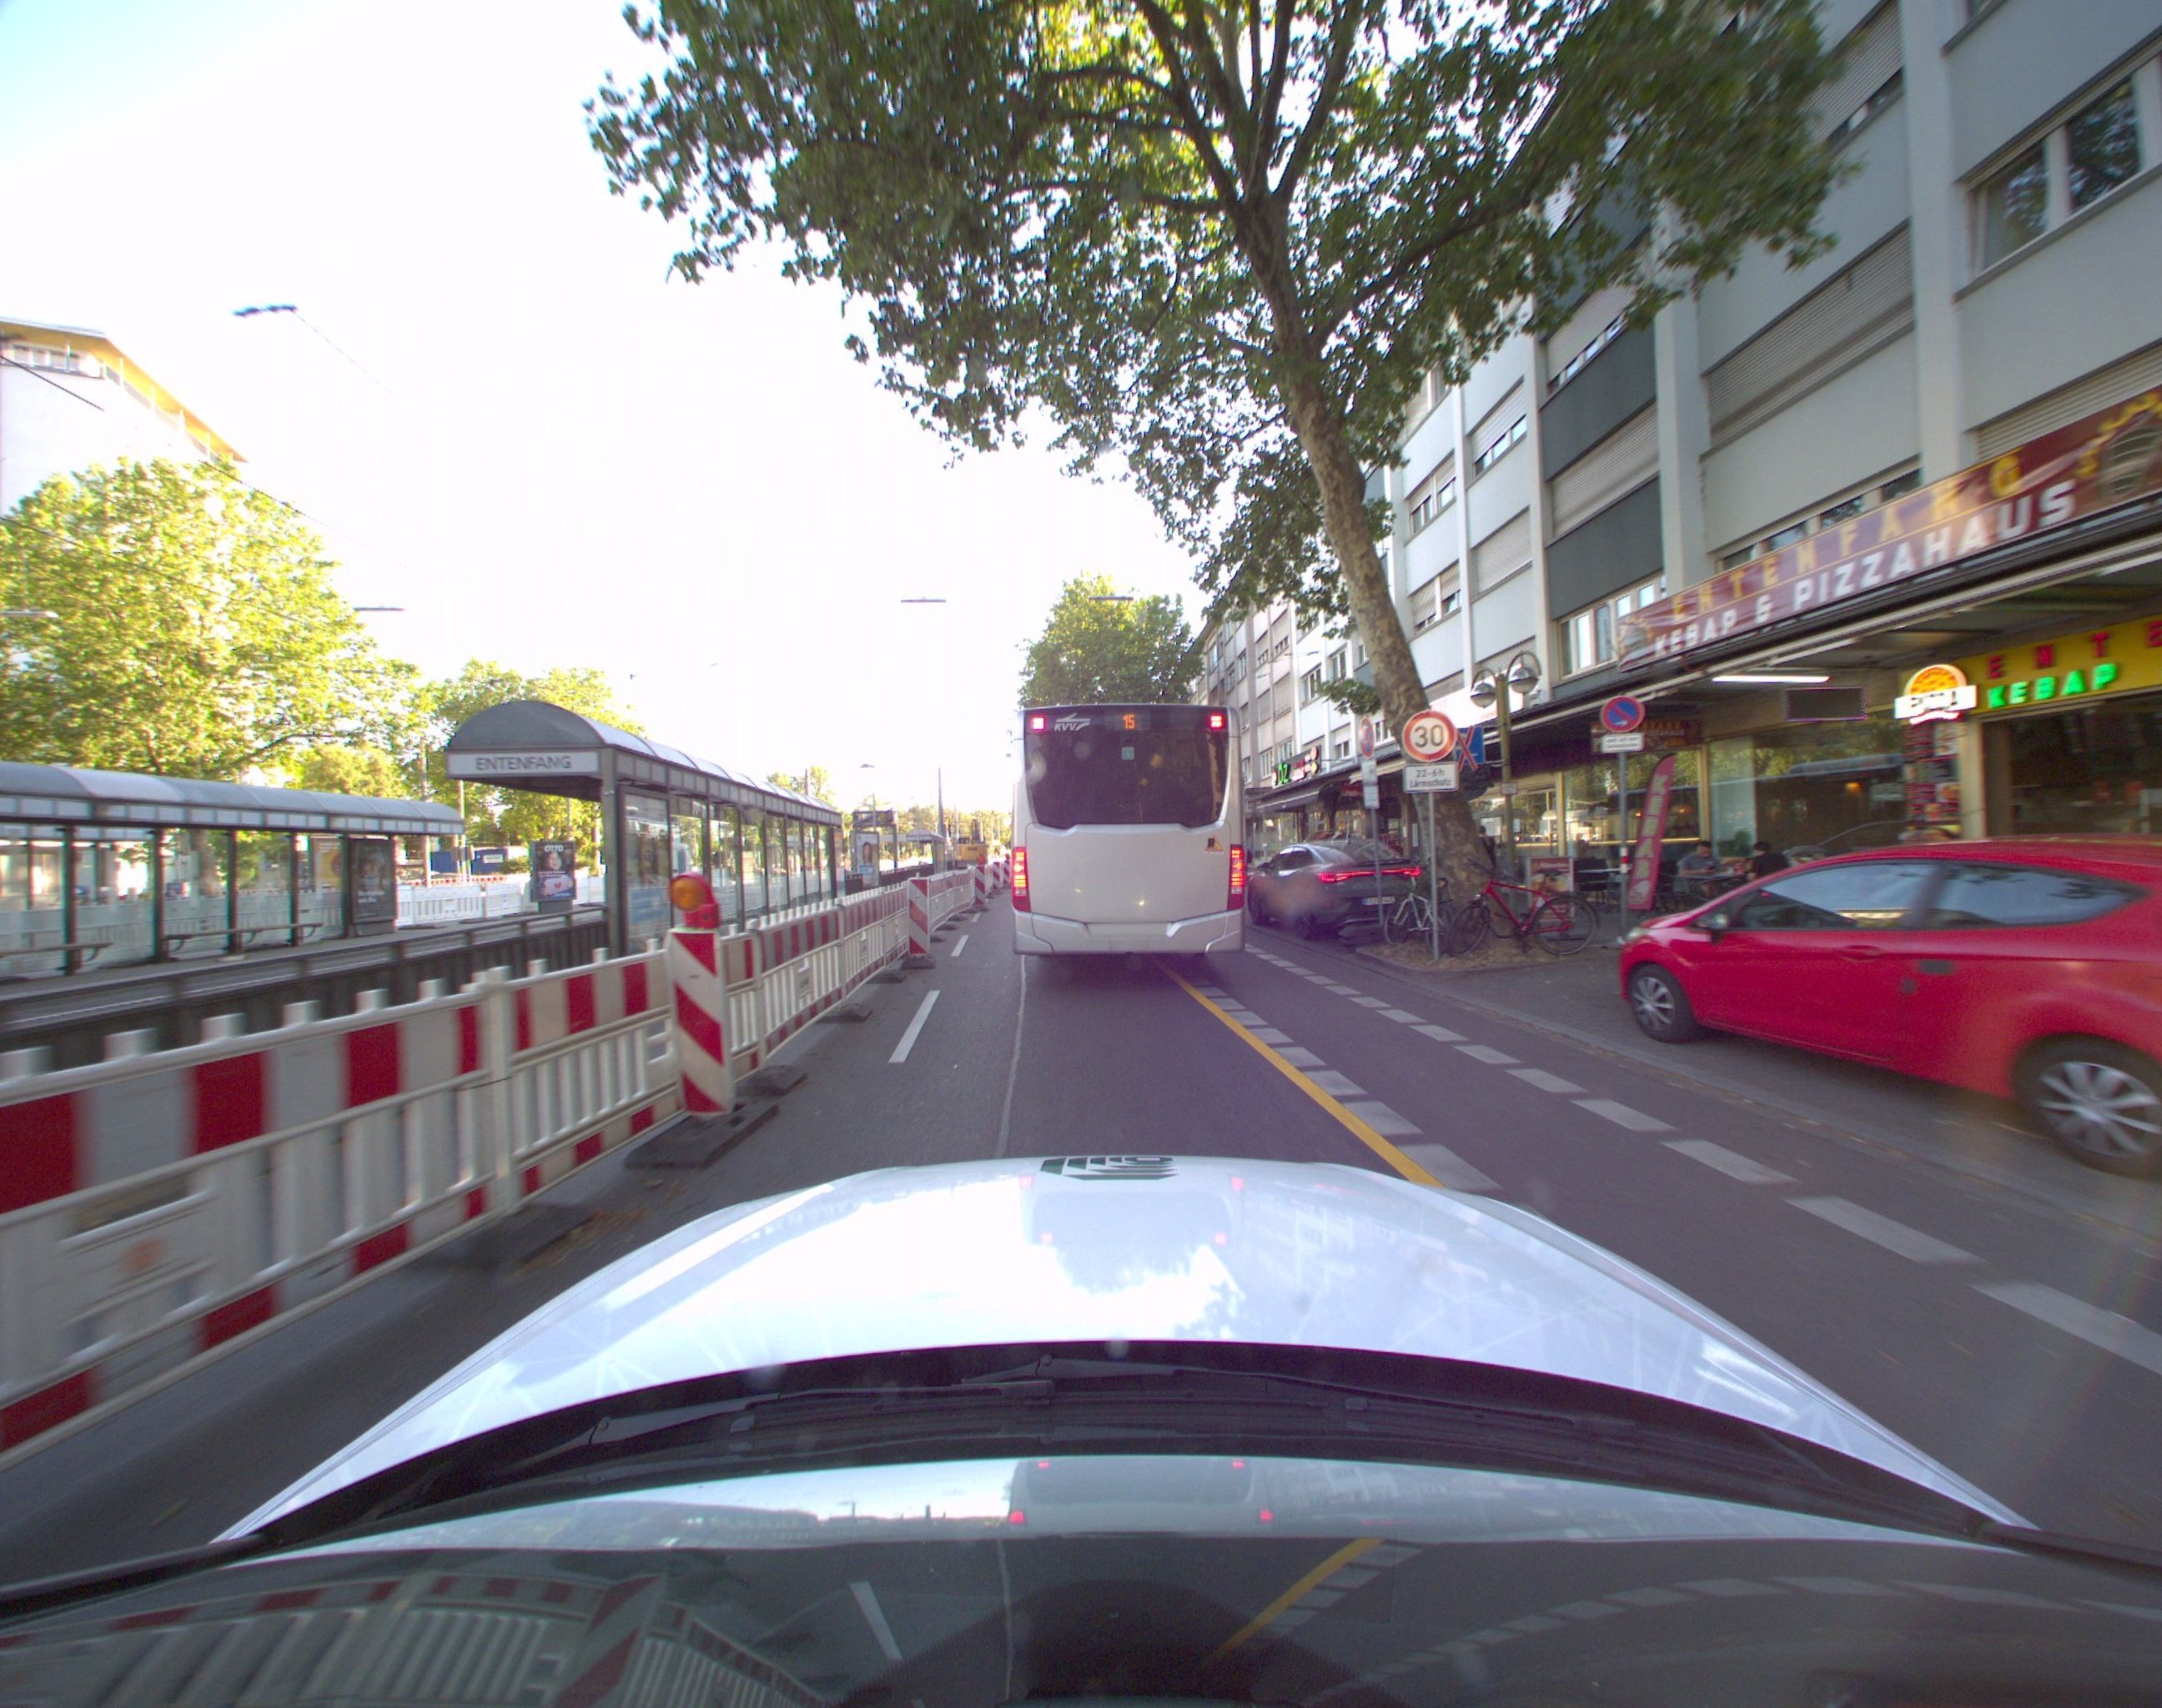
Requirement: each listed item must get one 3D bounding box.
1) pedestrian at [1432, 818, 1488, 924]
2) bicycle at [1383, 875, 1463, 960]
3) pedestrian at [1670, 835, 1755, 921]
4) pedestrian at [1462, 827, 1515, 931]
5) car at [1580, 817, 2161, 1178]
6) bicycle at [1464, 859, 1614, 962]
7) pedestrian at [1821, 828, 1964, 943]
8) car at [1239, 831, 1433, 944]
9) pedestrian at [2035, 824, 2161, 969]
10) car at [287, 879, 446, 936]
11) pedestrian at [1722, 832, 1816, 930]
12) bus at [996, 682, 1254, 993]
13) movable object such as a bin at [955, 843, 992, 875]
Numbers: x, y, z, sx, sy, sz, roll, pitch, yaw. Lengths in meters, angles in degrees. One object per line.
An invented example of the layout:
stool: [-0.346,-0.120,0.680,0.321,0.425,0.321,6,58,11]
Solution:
pedestrian: [7.441,0.334,16.021,0.689,2.013,0.696,-2,0,-1]
bicycle: [4.332,0.776,10.372,0.295,0.927,1.127,-7,3,-10]
pedestrian: [9.425,0.353,12.181,0.673,1.203,0.706,-5,-1,10]
pedestrian: [8.159,0.495,16.313,0.611,2.013,0.695,-2,0,-4]
car: [5.147,0.573,4.891,1.663,1.429,3.841,-4,0,-5]
bicycle: [5.369,0.664,9.584,1.450,1.066,0.296,-6,3,11]
pedestrian: [9.345,0.357,9.417,0.858,1.220,0.700,-5,-1,14]
car: [4.310,0.509,14.521,1.737,1.597,4.292,-4,0,-5]
pedestrian: [9.063,0.344,7.066,0.591,1.156,0.753,-5,-1,1]
car: [-26.455,1.918,30.437,1.944,1.654,4.683,-2,1,-4]
pedestrian: [9.393,0.361,11.143,0.612,1.243,0.713,-5,-1,9]
bus: [0.636,-0.157,13.595,2.598,3.170,10.296,-1,0,2]
movable object such as a bin: [-8.902,0.388,67.789,2.802,2.462,3.993,-2,0,-5]
